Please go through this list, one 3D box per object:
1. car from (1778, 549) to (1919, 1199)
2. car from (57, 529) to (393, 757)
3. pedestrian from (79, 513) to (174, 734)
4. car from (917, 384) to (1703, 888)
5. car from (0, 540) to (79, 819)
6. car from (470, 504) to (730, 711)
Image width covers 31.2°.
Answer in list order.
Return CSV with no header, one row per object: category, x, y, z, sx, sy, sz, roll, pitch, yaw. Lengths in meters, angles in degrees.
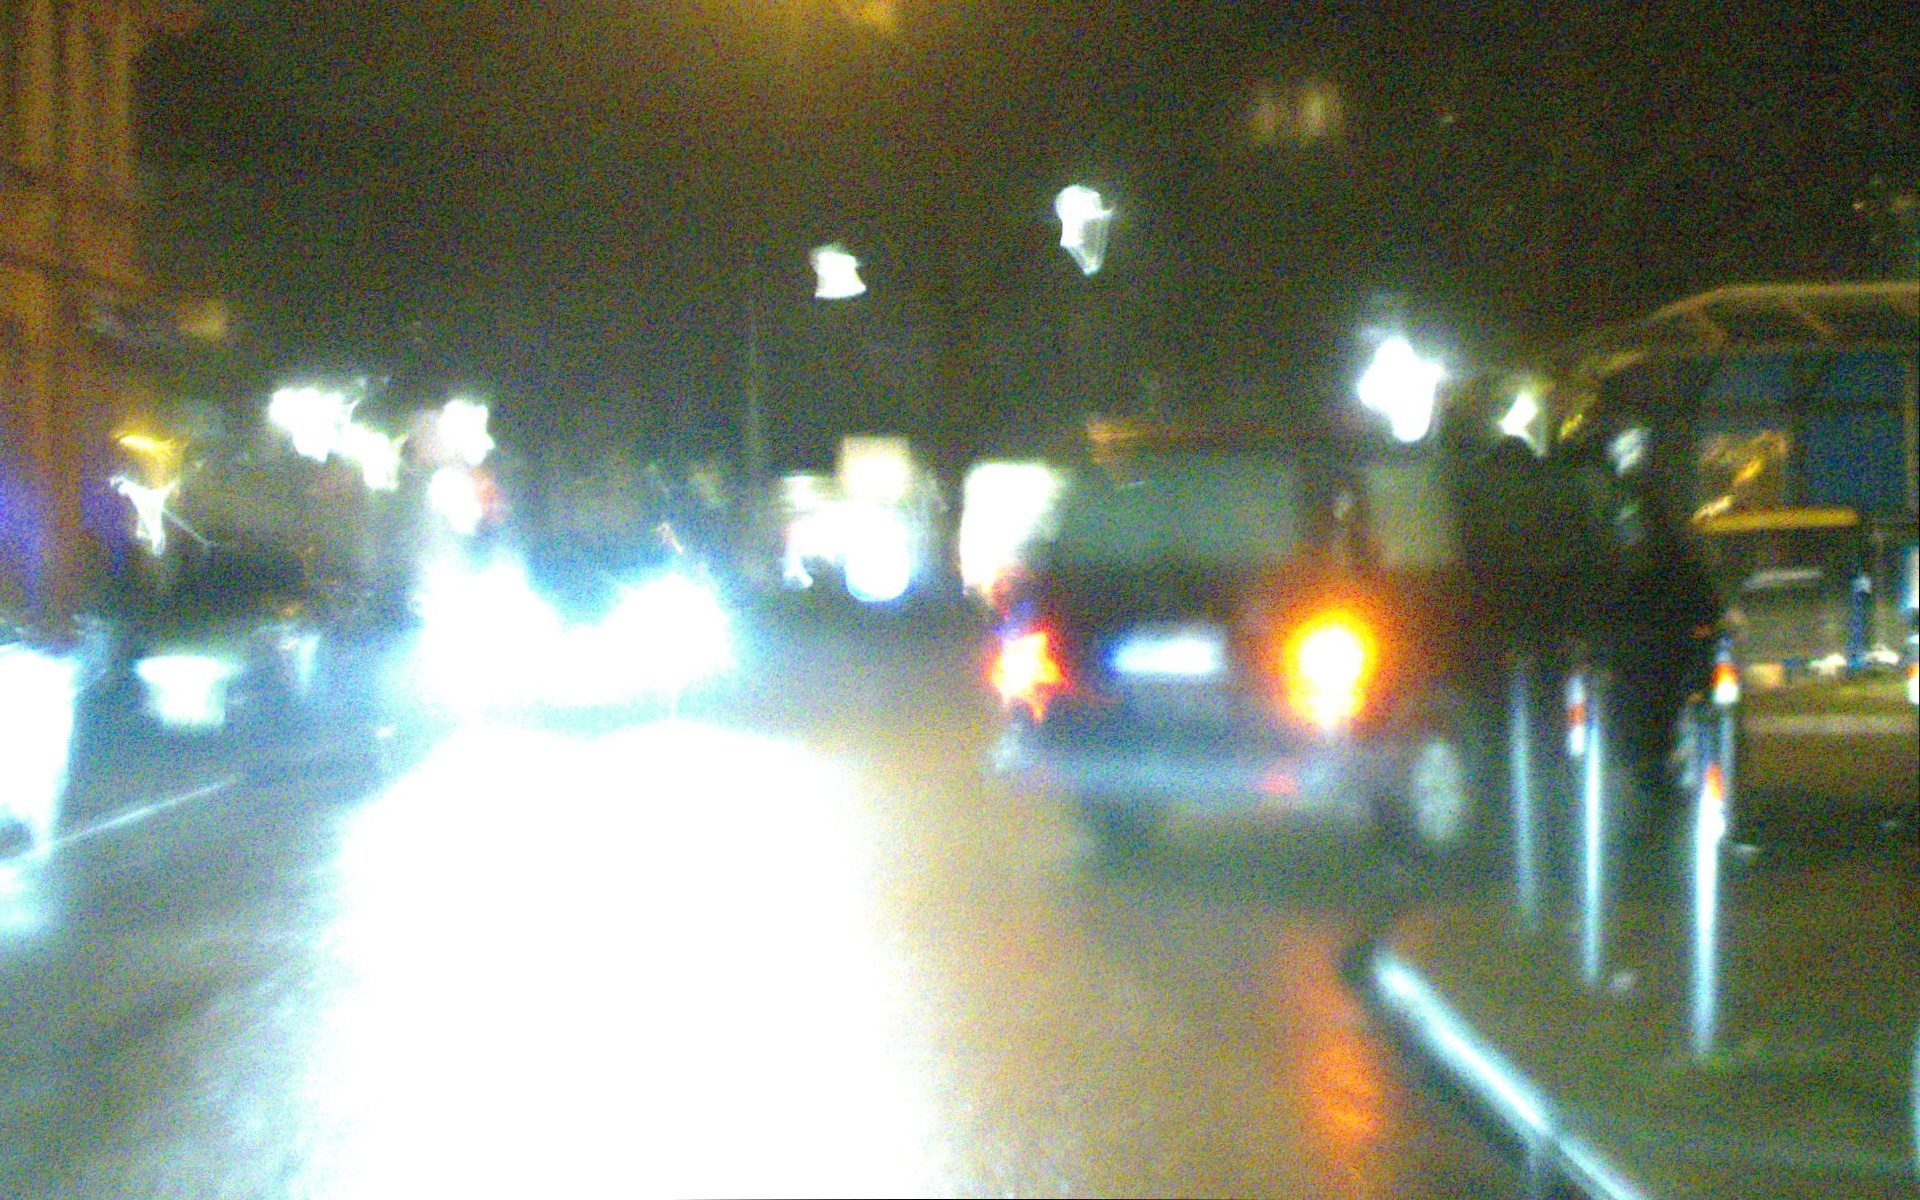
car,2.490,0.629,4.171,1.917,1.407,4.000,-1,1,-2
car,-5.985,0.290,28.528,1.832,1.711,4.595,-1,1,-1
pedestrian,-7.564,0.206,31.215,0.656,1.967,0.770,1,0,-2
car,1.855,0.092,16.474,1.999,2.042,4.686,0,1,30
car,-6.024,0.446,17.688,1.832,1.481,4.595,-1,1,-1
car,-3.113,0.008,30.589,1.920,1.612,4.575,-3,1,-2
